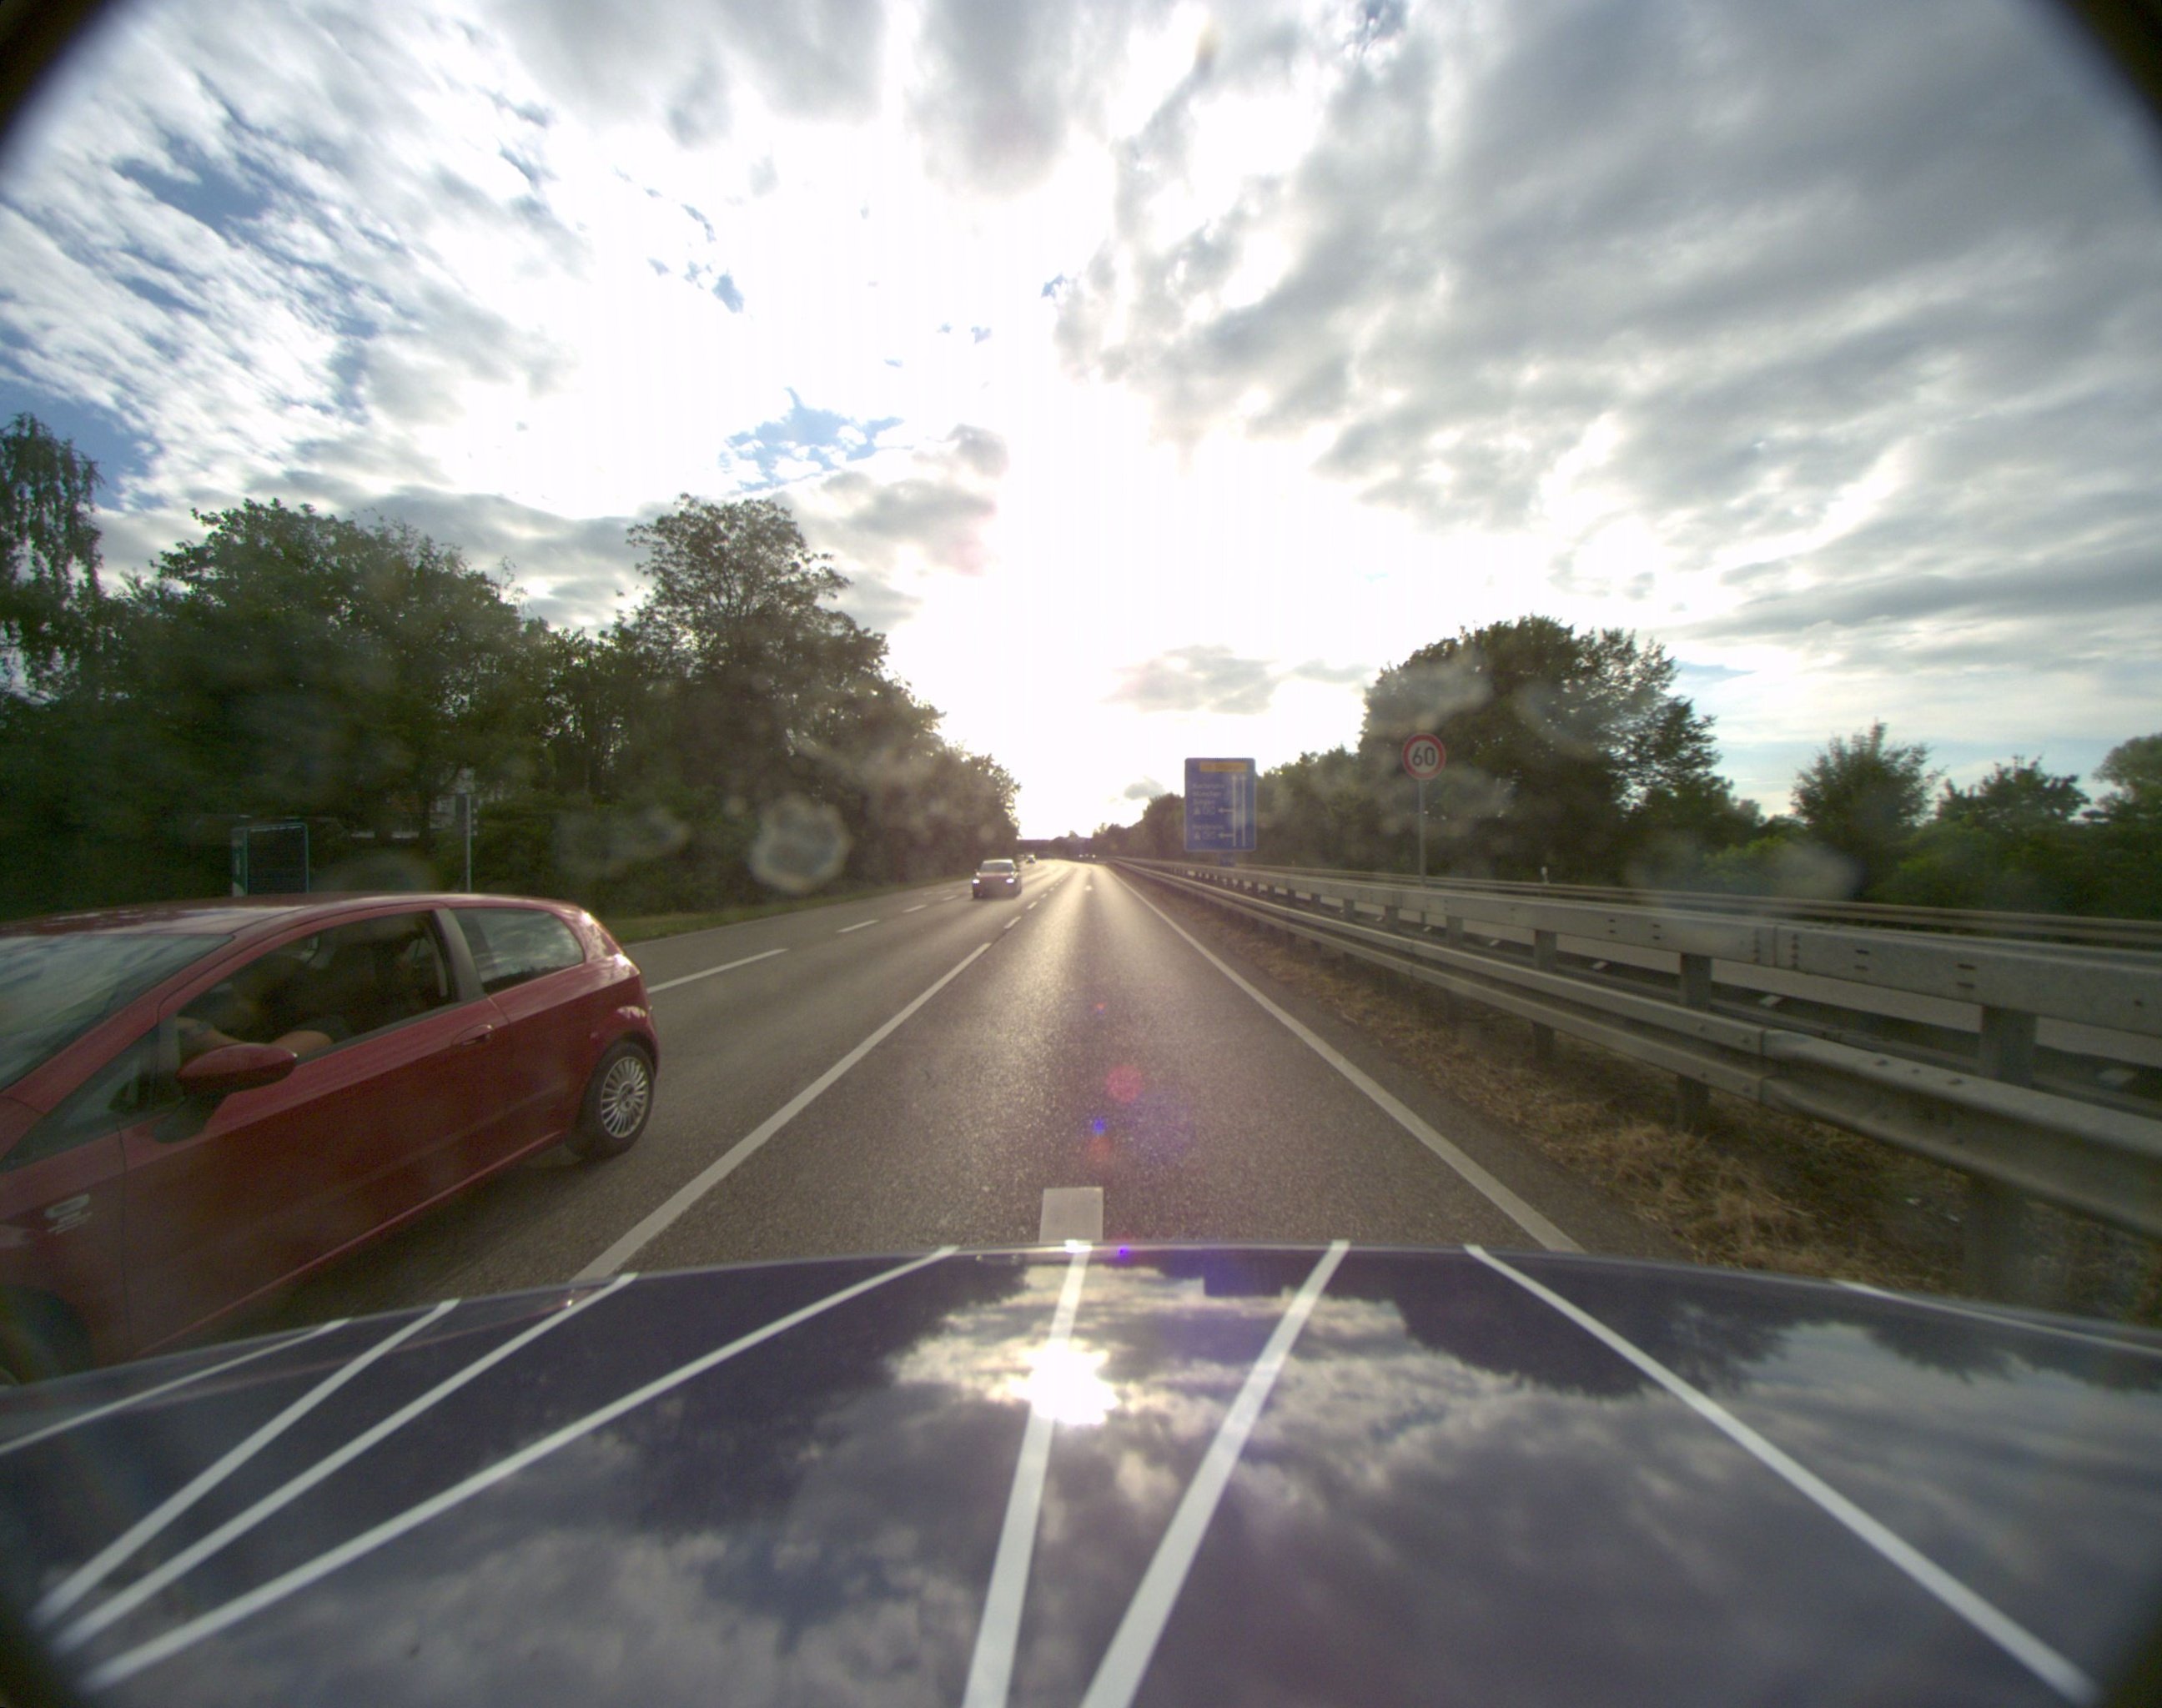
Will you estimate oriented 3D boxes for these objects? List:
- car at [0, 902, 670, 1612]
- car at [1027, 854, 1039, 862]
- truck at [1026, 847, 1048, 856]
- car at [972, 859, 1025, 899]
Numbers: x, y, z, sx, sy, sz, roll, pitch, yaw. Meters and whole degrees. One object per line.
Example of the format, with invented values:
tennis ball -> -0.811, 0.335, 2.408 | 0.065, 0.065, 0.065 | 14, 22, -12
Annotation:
car -> -3.305, 1.030, 2.510 | 1.667, 1.424, 3.994 | -2, 0, 0
car -> -9.350, 0.675, 146.905 | 1.998, 1.486, 4.000 | 0, 0, 1
truck -> -14.846, -0.821, 255.839 | 7.168, 2.668, 2.987 | -2, 1, -11
car -> -3.286, 0.957, 30.864 | 1.700, 1.407, 3.999 | -2, 0, 0
